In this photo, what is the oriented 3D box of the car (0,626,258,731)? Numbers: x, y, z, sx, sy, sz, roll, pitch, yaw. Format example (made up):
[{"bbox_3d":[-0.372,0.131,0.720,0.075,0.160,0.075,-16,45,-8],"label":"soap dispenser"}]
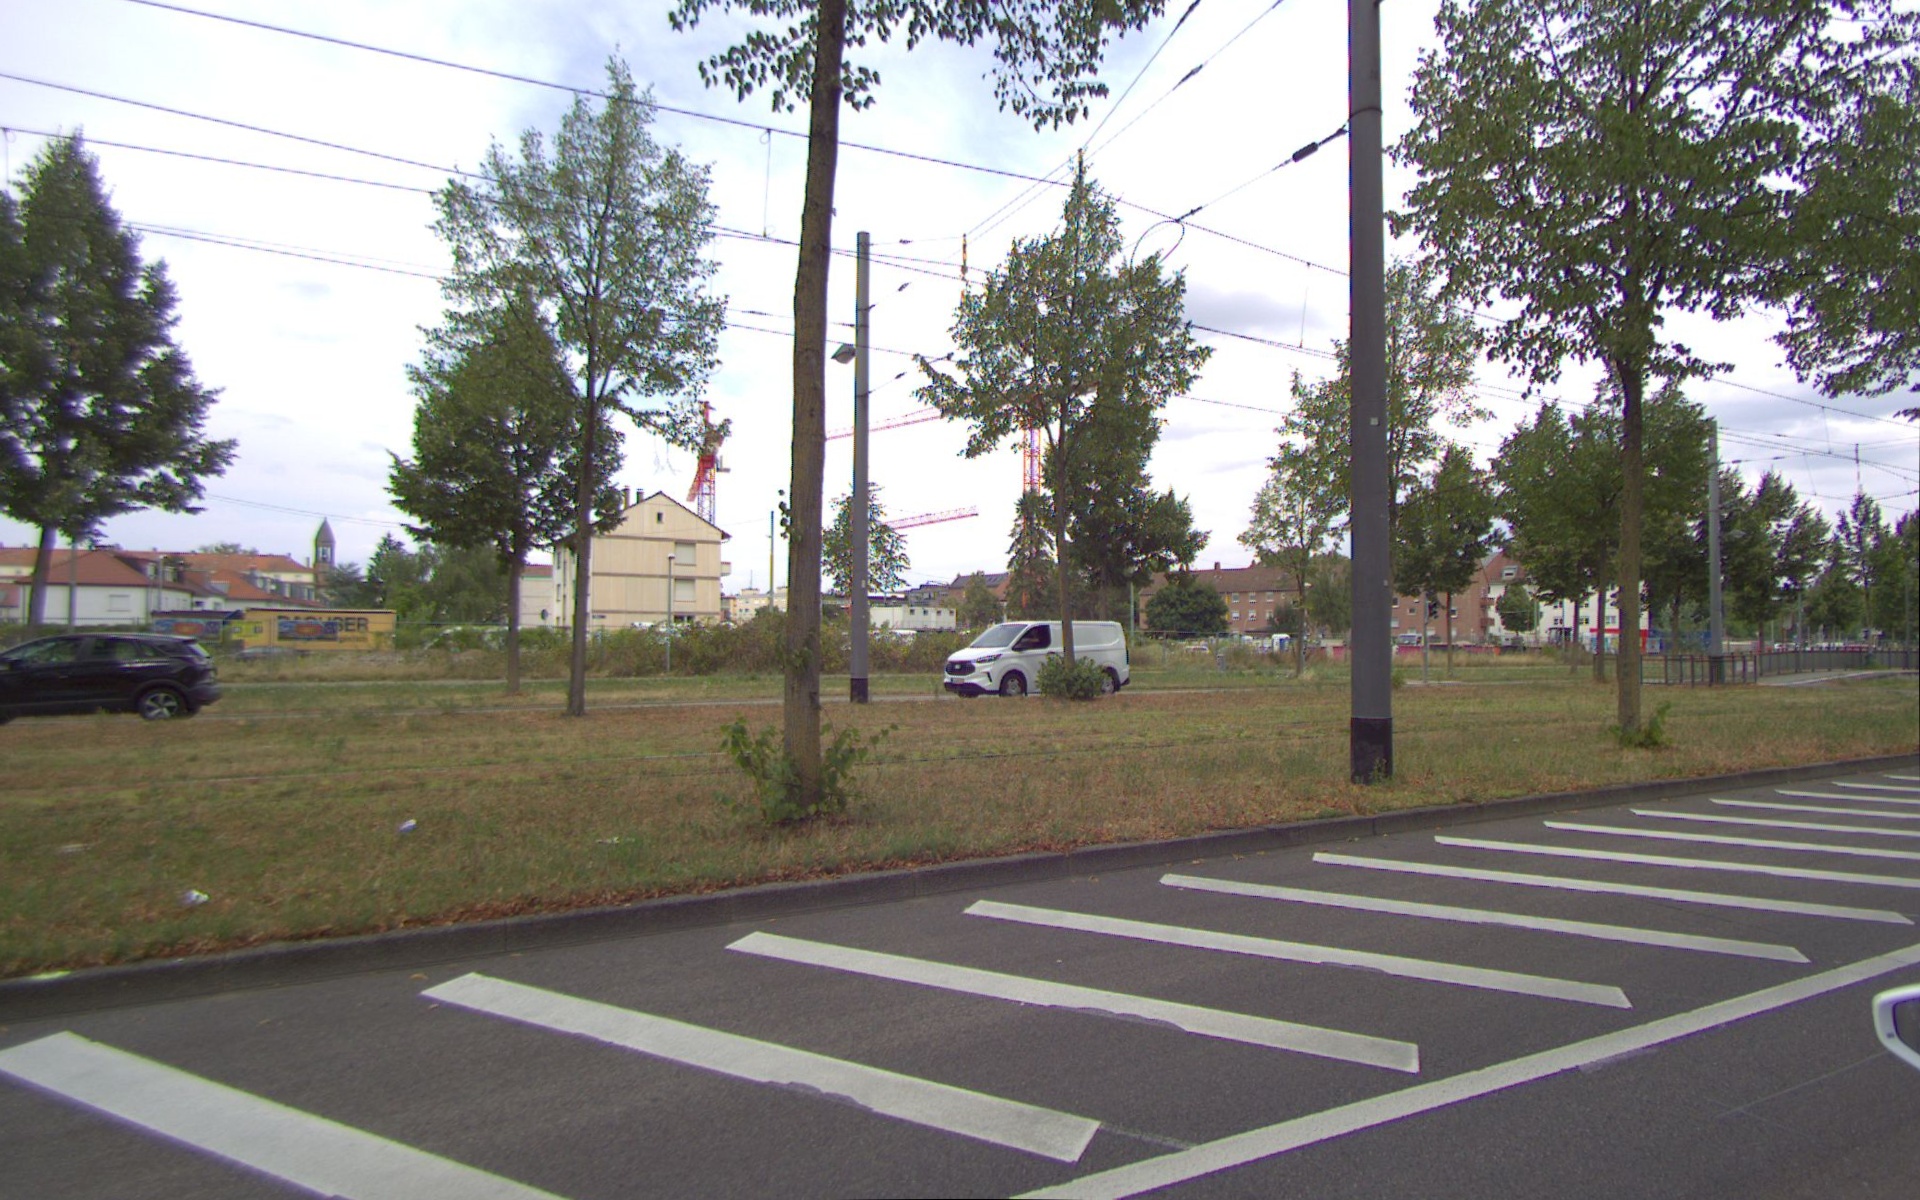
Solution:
[{"bbox_3d":[-15.124,1.310,17.438,4.639,1.678,1.818,2,-2,-31],"label":"car"}]

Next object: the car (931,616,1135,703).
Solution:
[{"bbox_3d":[1.916,1.454,25.234,5.046,1.970,1.980,2,-2,-36],"label":"car"}]
